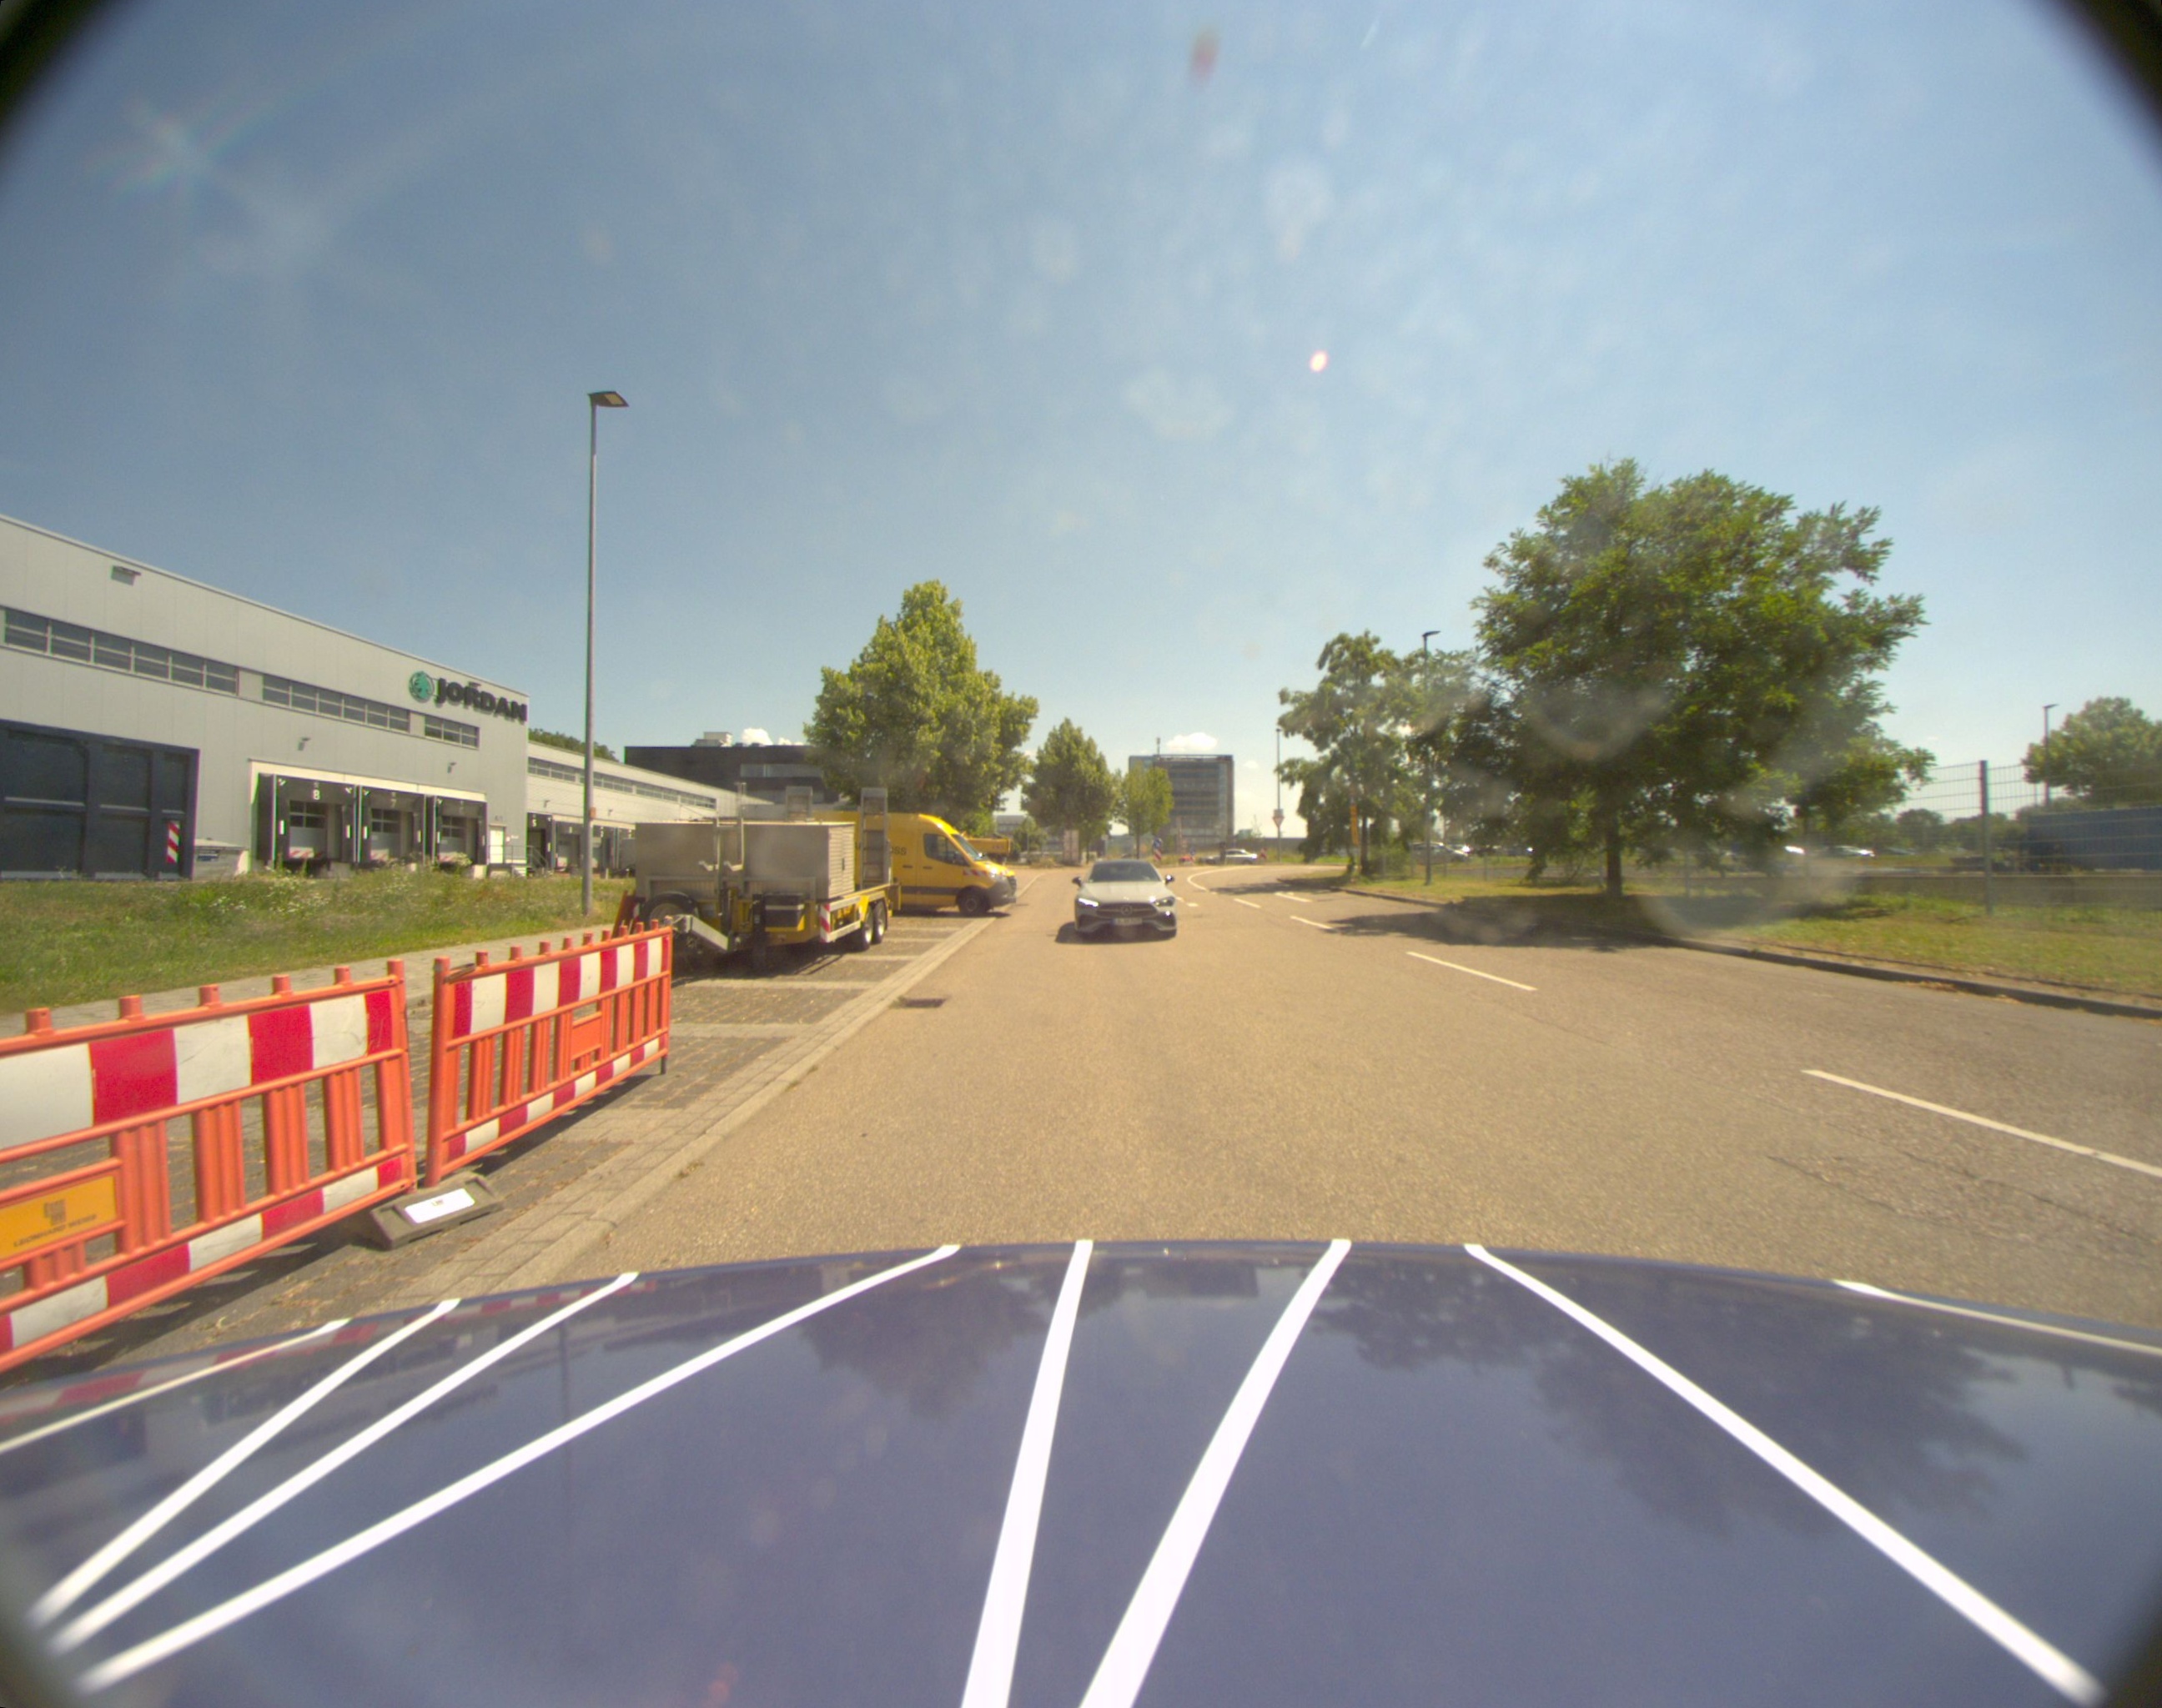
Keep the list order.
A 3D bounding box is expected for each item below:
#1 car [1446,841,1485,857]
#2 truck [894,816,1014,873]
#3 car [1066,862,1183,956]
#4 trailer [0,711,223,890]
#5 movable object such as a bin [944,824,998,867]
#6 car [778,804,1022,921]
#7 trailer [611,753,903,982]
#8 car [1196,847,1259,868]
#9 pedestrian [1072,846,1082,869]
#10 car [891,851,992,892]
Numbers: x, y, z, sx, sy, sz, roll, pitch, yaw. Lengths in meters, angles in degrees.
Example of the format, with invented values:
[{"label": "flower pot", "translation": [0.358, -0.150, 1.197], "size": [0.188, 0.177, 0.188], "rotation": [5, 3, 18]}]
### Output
[{"label": "car", "translation": [32.452, -0.379, 64.232], "size": [1.500, 1.174, 3.271], "rotation": [-2, -1, -1]}, {"label": "truck", "translation": [-7.010, -0.539, 42.772], "size": [6.422, 3.119, 2.594], "rotation": [0, 2, -5]}, {"label": "car", "translation": [0.758, 0.932, 14.845], "size": [1.897, 1.375, 4.632], "rotation": [-2, 1, 1]}, {"label": "trailer", "translation": [-16.432, -0.824, 9.584], "size": [2.665, 2.405, 7.419], "rotation": [-2, -3, 1]}, {"label": "movable object such as a bin", "translation": [-6.971, -0.572, 48.907], "size": [1.998, 2.566, 6.579], "rotation": [-1, 1, 4]}, {"label": "car", "translation": [-4.542, 0.199, 19.749], "size": [5.793, 2.717, 2.000], "rotation": [2, 1, 0]}, {"label": "trailer", "translation": [-4.731, 0.179, 12.367], "size": [2.664, 2.840, 5.517], "rotation": [1, 0, -4]}, {"label": "car", "translation": [11.118, 0.309, 57.725], "size": [4.492, 1.365, 1.676], "rotation": [-2, -4, 3]}, {"label": "pedestrian", "translation": [-0.298, 0.258, 57.602], "size": [0.578, 1.659, 0.532], "rotation": [-3, -3, 27]}, {"label": "car", "translation": [-5.446, 0.669, 30.014], "size": [3.669, 1.454, 1.627], "rotation": [1, 1, 0]}]
